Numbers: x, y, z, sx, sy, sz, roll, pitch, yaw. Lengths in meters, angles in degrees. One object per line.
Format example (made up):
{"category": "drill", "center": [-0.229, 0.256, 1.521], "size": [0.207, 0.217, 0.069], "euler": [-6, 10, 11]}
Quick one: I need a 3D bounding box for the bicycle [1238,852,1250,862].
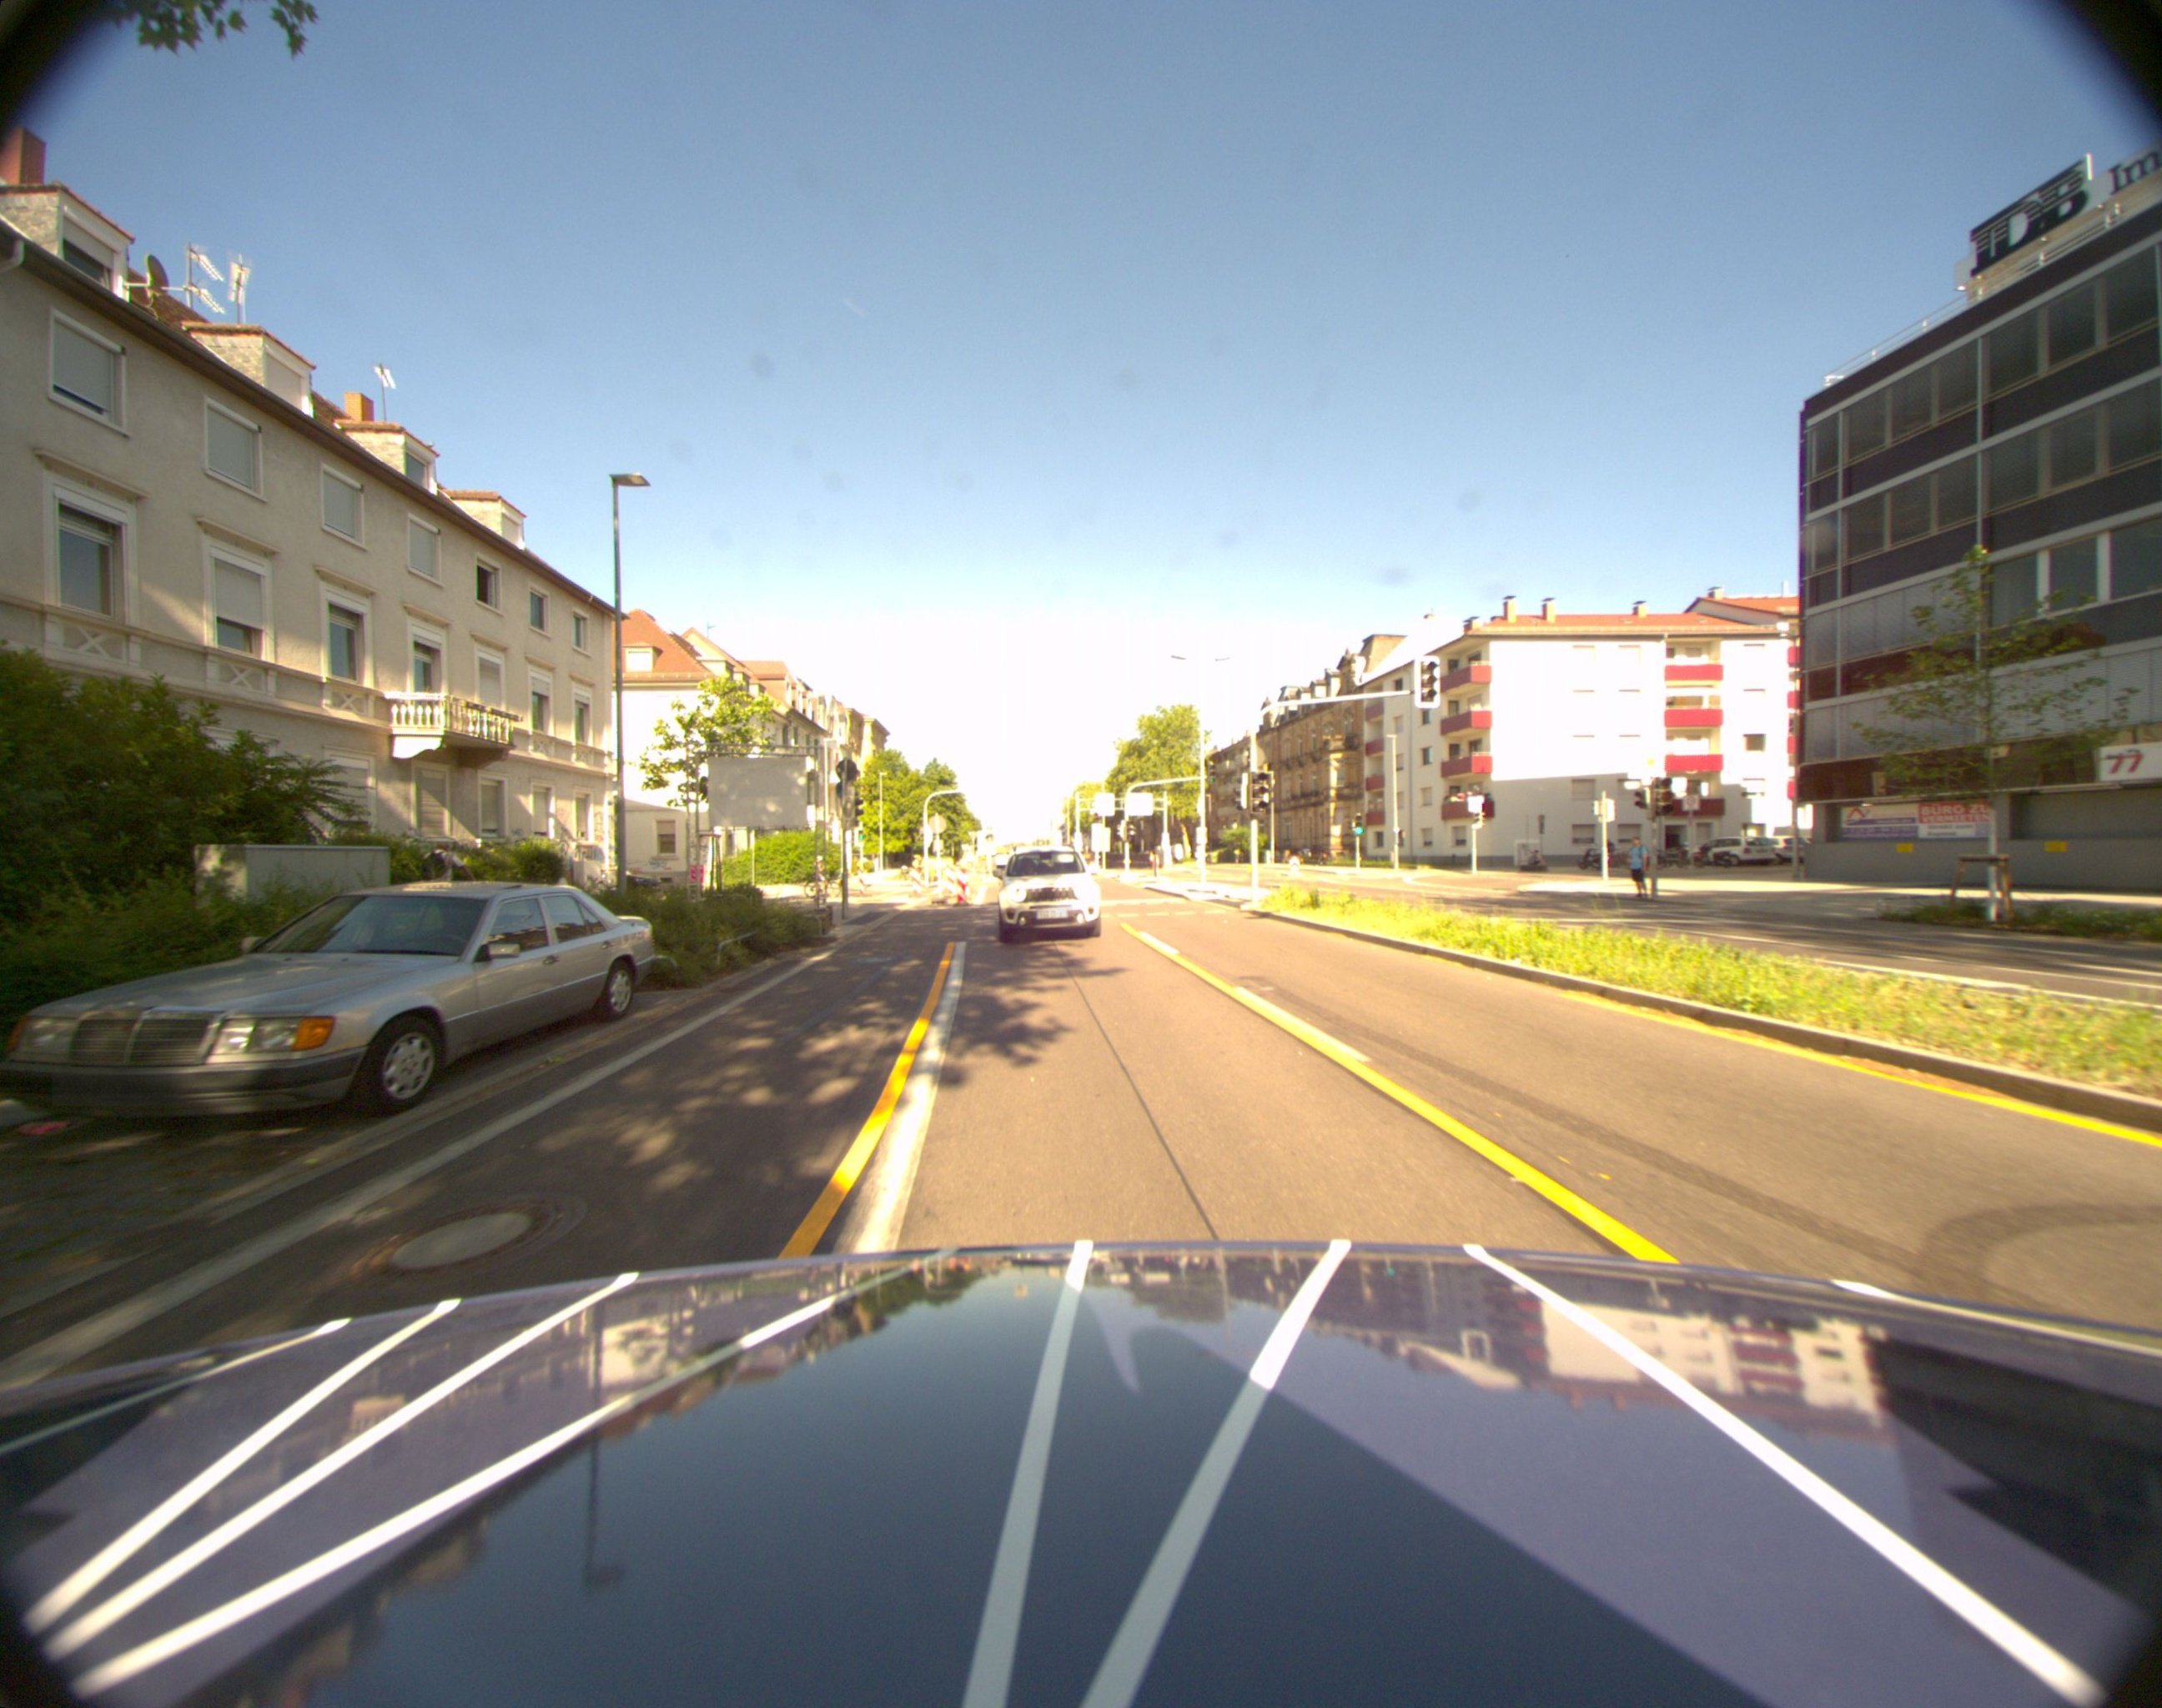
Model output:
{"category": "bicycle", "center": [17.253, 0.313, 80.583], "size": [0.468, 0.999, 2.249], "euler": [-2, 0, -7]}

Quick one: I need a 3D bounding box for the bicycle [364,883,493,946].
{"category": "bicycle", "center": [-11.609, 1.051, 13.614], "size": [0.784, 0.961, 1.822], "euler": [-1, 0, -3]}

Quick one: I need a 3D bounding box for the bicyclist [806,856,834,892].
{"category": "bicyclist", "center": [-10.950, 0.842, 31.910], "size": [0.724, 1.491, 0.873], "euler": [0, 1, 42]}

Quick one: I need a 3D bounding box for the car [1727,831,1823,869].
{"category": "car", "center": [38.171, -0.227, 41.913], "size": [1.701, 1.944, 3.792], "euler": [-1, 1, -2]}

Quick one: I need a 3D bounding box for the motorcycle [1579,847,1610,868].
{"category": "motorcycle", "center": [28.260, 0.166, 41.843], "size": [0.613, 1.135, 1.784], "euler": [-1, 0, 4]}

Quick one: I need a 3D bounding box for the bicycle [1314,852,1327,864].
{"category": "bicycle", "center": [19.242, 0.311, 61.104], "size": [0.305, 0.952, 1.939], "euler": [-1, 0, -5]}

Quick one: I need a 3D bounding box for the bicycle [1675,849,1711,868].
{"category": "bicycle", "center": [32.377, 0.226, 40.235], "size": [0.459, 0.942, 1.723], "euler": [-1, 1, -3]}

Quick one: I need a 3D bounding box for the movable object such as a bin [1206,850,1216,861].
{"category": "movable object such as a bin", "center": [15.654, 0.179, 91.611], "size": [0.895, 1.354, 1.314], "euler": [1, -1, -6]}

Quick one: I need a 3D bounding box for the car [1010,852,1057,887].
{"category": "car", "center": [-2.249, 0.670, 35.035], "size": [1.999, 1.426, 4.870], "euler": [-1, 1, -5]}

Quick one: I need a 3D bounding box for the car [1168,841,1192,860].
{"category": "car", "center": [13.433, -0.415, 103.305], "size": [2.251, 2.431, 5.285], "euler": [1, -1, -4]}

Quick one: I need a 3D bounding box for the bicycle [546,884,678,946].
{"category": "bicycle", "center": [-9.011, 1.139, 14.715], "size": [0.587, 0.999, 2.135], "euler": [-1, 1, 30]}

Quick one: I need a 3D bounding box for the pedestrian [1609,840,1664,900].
{"category": "pedestrian", "center": [16.178, 0.460, 22.158], "size": [0.867, 1.701, 1.012], "euler": [-1, 1, 2]}

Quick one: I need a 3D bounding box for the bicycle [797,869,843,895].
{"category": "bicycle", "center": [-10.925, 1.160, 31.858], "size": [0.689, 1.091, 1.690], "euler": [0, -1, 44]}

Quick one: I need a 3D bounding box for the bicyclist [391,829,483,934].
{"category": "bicyclist", "center": [-11.654, 0.473, 13.790], "size": [0.726, 1.810, 1.070], "euler": [-1, 1, -4]}

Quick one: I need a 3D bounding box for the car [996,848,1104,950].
{"category": "car", "center": [-0.605, 0.753, 14.394], "size": [1.744, 1.648, 3.689], "euler": [-1, 0, -3]}

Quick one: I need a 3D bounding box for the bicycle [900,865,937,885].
{"category": "bicycle", "center": [-9.186, 1.185, 43.078], "size": [1.968, 1.019, 0.604], "euler": [-2, 0, -6]}

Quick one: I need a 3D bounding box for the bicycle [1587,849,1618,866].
{"category": "bicycle", "center": [29.568, 0.202, 43.095], "size": [0.576, 0.963, 1.736], "euler": [-1, 0, 0]}

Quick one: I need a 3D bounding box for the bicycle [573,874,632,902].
{"category": "bicycle", "center": [-19.590, 1.380, 31.121], "size": [2.002, 1.074, 0.579], "euler": [-1, 1, -4]}

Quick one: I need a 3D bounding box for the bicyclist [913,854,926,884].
{"category": "bicyclist", "center": [-9.134, 0.835, 43.025], "size": [0.605, 1.698, 0.858], "euler": [-1, 1, -5]}

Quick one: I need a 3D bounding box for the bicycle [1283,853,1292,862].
{"category": "bicycle", "center": [18.575, 0.302, 68.473], "size": [0.300, 0.766, 1.413], "euler": [-1, 0, -5]}

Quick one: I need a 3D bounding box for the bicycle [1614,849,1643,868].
{"category": "bicycle", "center": [28.969, 0.231, 40.208], "size": [0.507, 0.972, 1.886], "euler": [-1, 0, 11]}

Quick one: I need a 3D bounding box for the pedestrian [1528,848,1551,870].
{"category": "pedestrian", "center": [24.360, 0.285, 40.365], "size": [0.720, 1.146, 0.787], "euler": [-1, 1, -18]}

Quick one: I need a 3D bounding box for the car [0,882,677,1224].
{"category": "car", "center": [-5.369, 1.100, 6.302], "size": [1.858, 1.471, 4.938], "euler": [-1, 1, -7]}

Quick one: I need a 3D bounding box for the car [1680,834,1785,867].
{"category": "car", "center": [35.872, -0.198, 41.997], "size": [1.998, 1.721, 4.479], "euler": [-1, 0, 1]}

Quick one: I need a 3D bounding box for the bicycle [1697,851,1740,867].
{"category": "bicycle", "center": [33.462, 0.243, 39.896], "size": [0.415, 0.810, 1.719], "euler": [-2, 1, -29]}

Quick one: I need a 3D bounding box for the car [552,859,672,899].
{"category": "car", "center": [-21.780, 1.139, 35.408], "size": [4.261, 1.609, 1.984], "euler": [-2, 1, 0]}

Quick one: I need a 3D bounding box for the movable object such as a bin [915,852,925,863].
{"category": "movable object such as a bin", "center": [-20.779, 0.417, 97.882], "size": [0.975, 1.389, 1.285], "euler": [1, -1, -28]}

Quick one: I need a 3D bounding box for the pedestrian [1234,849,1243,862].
{"category": "pedestrian", "center": [16.772, 0.171, 80.928], "size": [0.568, 1.369, 1.089], "euler": [-1, 0, -7]}

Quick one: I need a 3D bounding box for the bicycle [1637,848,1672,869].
{"category": "bicycle", "center": [30.446, 0.241, 40.384], "size": [0.490, 1.062, 1.736], "euler": [-1, 0, -3]}

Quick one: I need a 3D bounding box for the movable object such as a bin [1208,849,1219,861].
{"category": "movable object such as a bin", "center": [15.720, 0.165, 90.218], "size": [0.895, 1.352, 1.473], "euler": [1, -1, -4]}

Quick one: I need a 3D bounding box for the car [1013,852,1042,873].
{"category": "car", "center": [-3.993, 0.605, 56.280], "size": [1.999, 1.426, 4.870], "euler": [-1, 1, -5]}

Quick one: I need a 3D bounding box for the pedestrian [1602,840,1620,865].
{"category": "pedestrian", "center": [31.378, -0.081, 44.993], "size": [0.601, 1.488, 0.694], "euler": [-1, 1, -2]}

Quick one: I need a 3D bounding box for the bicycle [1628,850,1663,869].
{"category": "bicycle", "center": [29.569, 0.280, 39.856], "size": [0.478, 0.942, 1.952], "euler": [-1, 1, 4]}

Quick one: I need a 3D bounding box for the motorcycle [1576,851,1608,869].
{"category": "motorcycle", "center": [27.281, 0.307, 40.586], "size": [0.504, 0.931, 1.842], "euler": [-1, 0, 2]}

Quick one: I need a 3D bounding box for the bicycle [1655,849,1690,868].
{"category": "bicycle", "center": [31.516, 0.225, 40.487], "size": [0.510, 0.997, 1.736], "euler": [-1, 0, 0]}

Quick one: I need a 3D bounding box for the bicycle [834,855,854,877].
{"category": "bicycle", "center": [-15.849, 0.813, 50.880], "size": [0.710, 1.435, 2.490], "euler": [-2, 0, -6]}

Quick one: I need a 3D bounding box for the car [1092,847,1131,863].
{"category": "car", "center": [3.490, 0.137, 86.491], "size": [3.992, 1.703, 2.002], "euler": [-1, 1, 16]}
